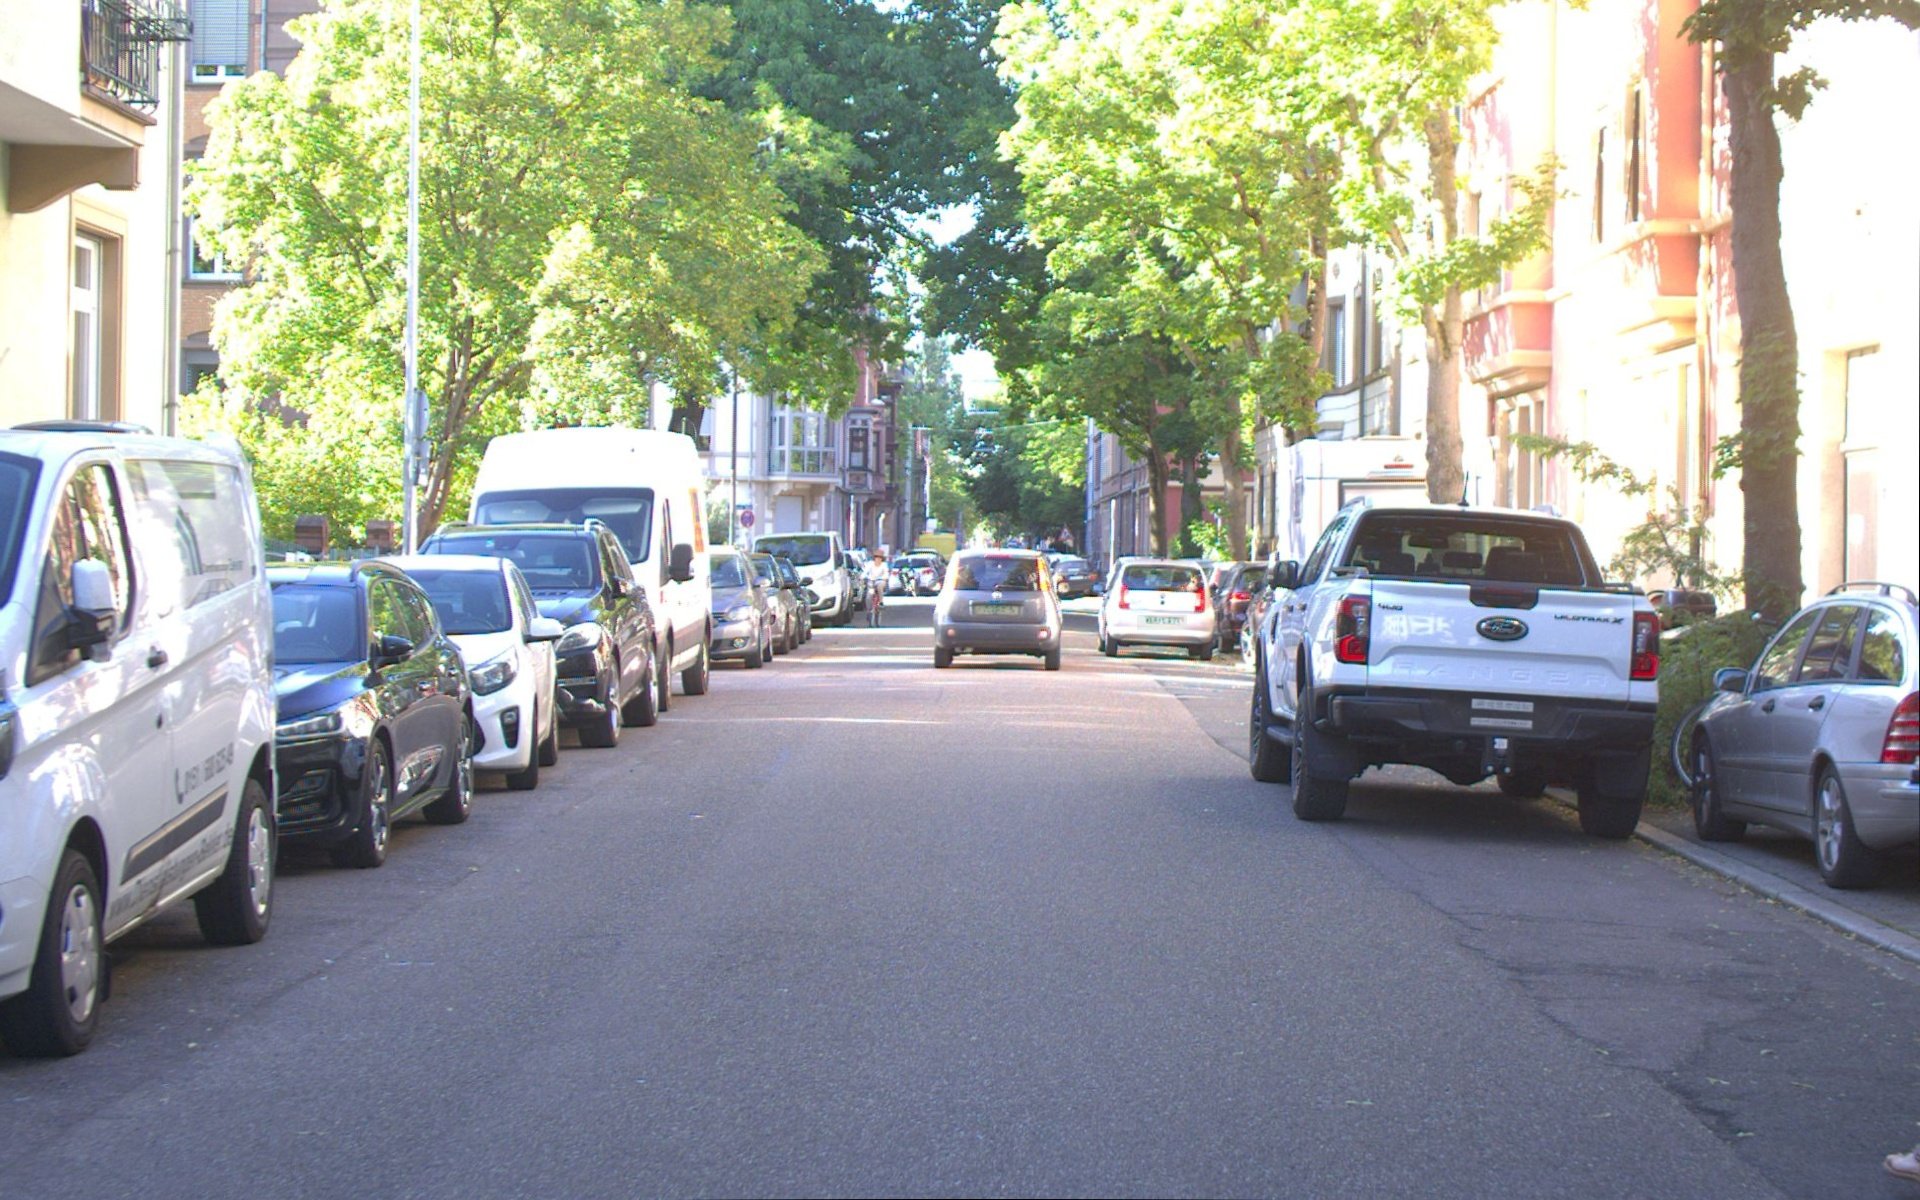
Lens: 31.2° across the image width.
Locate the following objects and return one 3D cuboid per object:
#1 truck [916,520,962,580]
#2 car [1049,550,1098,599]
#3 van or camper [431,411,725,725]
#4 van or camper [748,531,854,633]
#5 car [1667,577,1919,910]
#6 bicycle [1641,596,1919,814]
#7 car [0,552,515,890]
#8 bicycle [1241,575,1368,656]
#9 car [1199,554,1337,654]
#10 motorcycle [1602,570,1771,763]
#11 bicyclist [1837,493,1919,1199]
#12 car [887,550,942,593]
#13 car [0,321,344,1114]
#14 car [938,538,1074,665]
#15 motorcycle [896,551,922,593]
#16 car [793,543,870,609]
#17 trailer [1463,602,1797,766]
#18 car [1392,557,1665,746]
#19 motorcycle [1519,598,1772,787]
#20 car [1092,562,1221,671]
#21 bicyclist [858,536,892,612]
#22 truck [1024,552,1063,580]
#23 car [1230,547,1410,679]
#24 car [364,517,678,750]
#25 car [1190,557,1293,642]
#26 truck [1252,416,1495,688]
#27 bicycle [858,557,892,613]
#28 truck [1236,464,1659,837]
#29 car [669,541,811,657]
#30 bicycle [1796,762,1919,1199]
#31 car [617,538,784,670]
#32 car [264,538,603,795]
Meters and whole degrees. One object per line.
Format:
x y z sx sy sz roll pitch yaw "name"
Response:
-1.064 -2.557 176.536 2.070 2.916 5.068 -3 1 1 "truck"
3.998 -0.911 121.372 1.663 1.663 3.757 2 1 2 "car"
-3.613 -0.331 33.607 2.128 2.759 5.852 -1 1 0 "van or camper"
-3.260 -0.391 71.492 1.921 1.973 5.462 -2 1 0 "van or camper"
4.869 0.617 17.371 1.680 1.417 4.430 0 1 0 "car"
5.172 0.642 21.298 1.759 1.301 0.586 1 1 -1 "bicycle"
-3.555 0.518 18.018 1.766 1.516 4.825 0 1 1 "car"
5.153 0.229 51.475 1.811 1.163 0.569 -1 1 0 "bicycle"
4.981 0.037 56.019 1.786 1.508 4.460 2 1 0 "car"
5.657 0.490 26.898 0.861 1.411 2.234 2 1 2 "motorcycle"
2.654 0.606 8.196 0.714 1.683 0.981 3 1 -4 "bicyclist"
-1.622 -1.028 123.934 1.797 1.427 3.925 -2 1 2 "car"
-3.708 0.318 11.964 2.251 2.161 5.244 -2 1 -1 "car"
0.563 -0.007 44.239 1.632 1.545 3.264 1 1 -1 "car"
-1.793 -1.002 120.639 0.696 1.455 1.751 0 1 -9 "motorcycle"
-3.258 -0.616 87.315 1.824 1.548 4.134 -3 1 -2 "car"
4.850 0.603 24.966 2.079 1.108 1.116 1 1 -13 "trailer"
4.941 0.391 30.457 1.751 1.524 4.781 0 1 2 "car"
4.721 0.623 23.622 1.759 1.236 0.702 1 1 -38 "motorcycle"
2.979 0.223 52.731 1.679 1.539 3.800 2 1 0 "car"
-1.695 -0.527 68.968 0.651 1.503 0.625 1 1 -1 "bicyclist"
4.481 -1.838 184.768 1.993 1.451 4.000 1 1 1 "truck"
4.917 0.128 47.617 1.885 1.710 4.944 1 1 -1 "car"
-3.441 0.204 27.842 1.875 1.680 4.970 -1 1 0 "car"
5.072 -0.029 62.240 1.596 1.483 3.748 0 1 1 "car"
4.851 -0.584 41.195 2.073 2.958 6.109 -2 1 0 "truck"
-1.698 -0.308 68.869 0.665 1.073 1.685 1 1 -1 "bicycle"
2.815 0.221 21.066 1.828 1.942 5.541 1 1 1 "truck"
-3.203 -0.048 50.661 1.676 1.567 4.151 -2 1 1 "car"
2.653 0.984 8.132 0.705 1.042 1.858 4 0 -4 "bicycle"
-3.300 0.012 44.457 1.780 1.585 4.469 -1 1 0 "car"
-3.385 0.390 22.772 1.635 1.546 4.089 0 0 0 "car"
